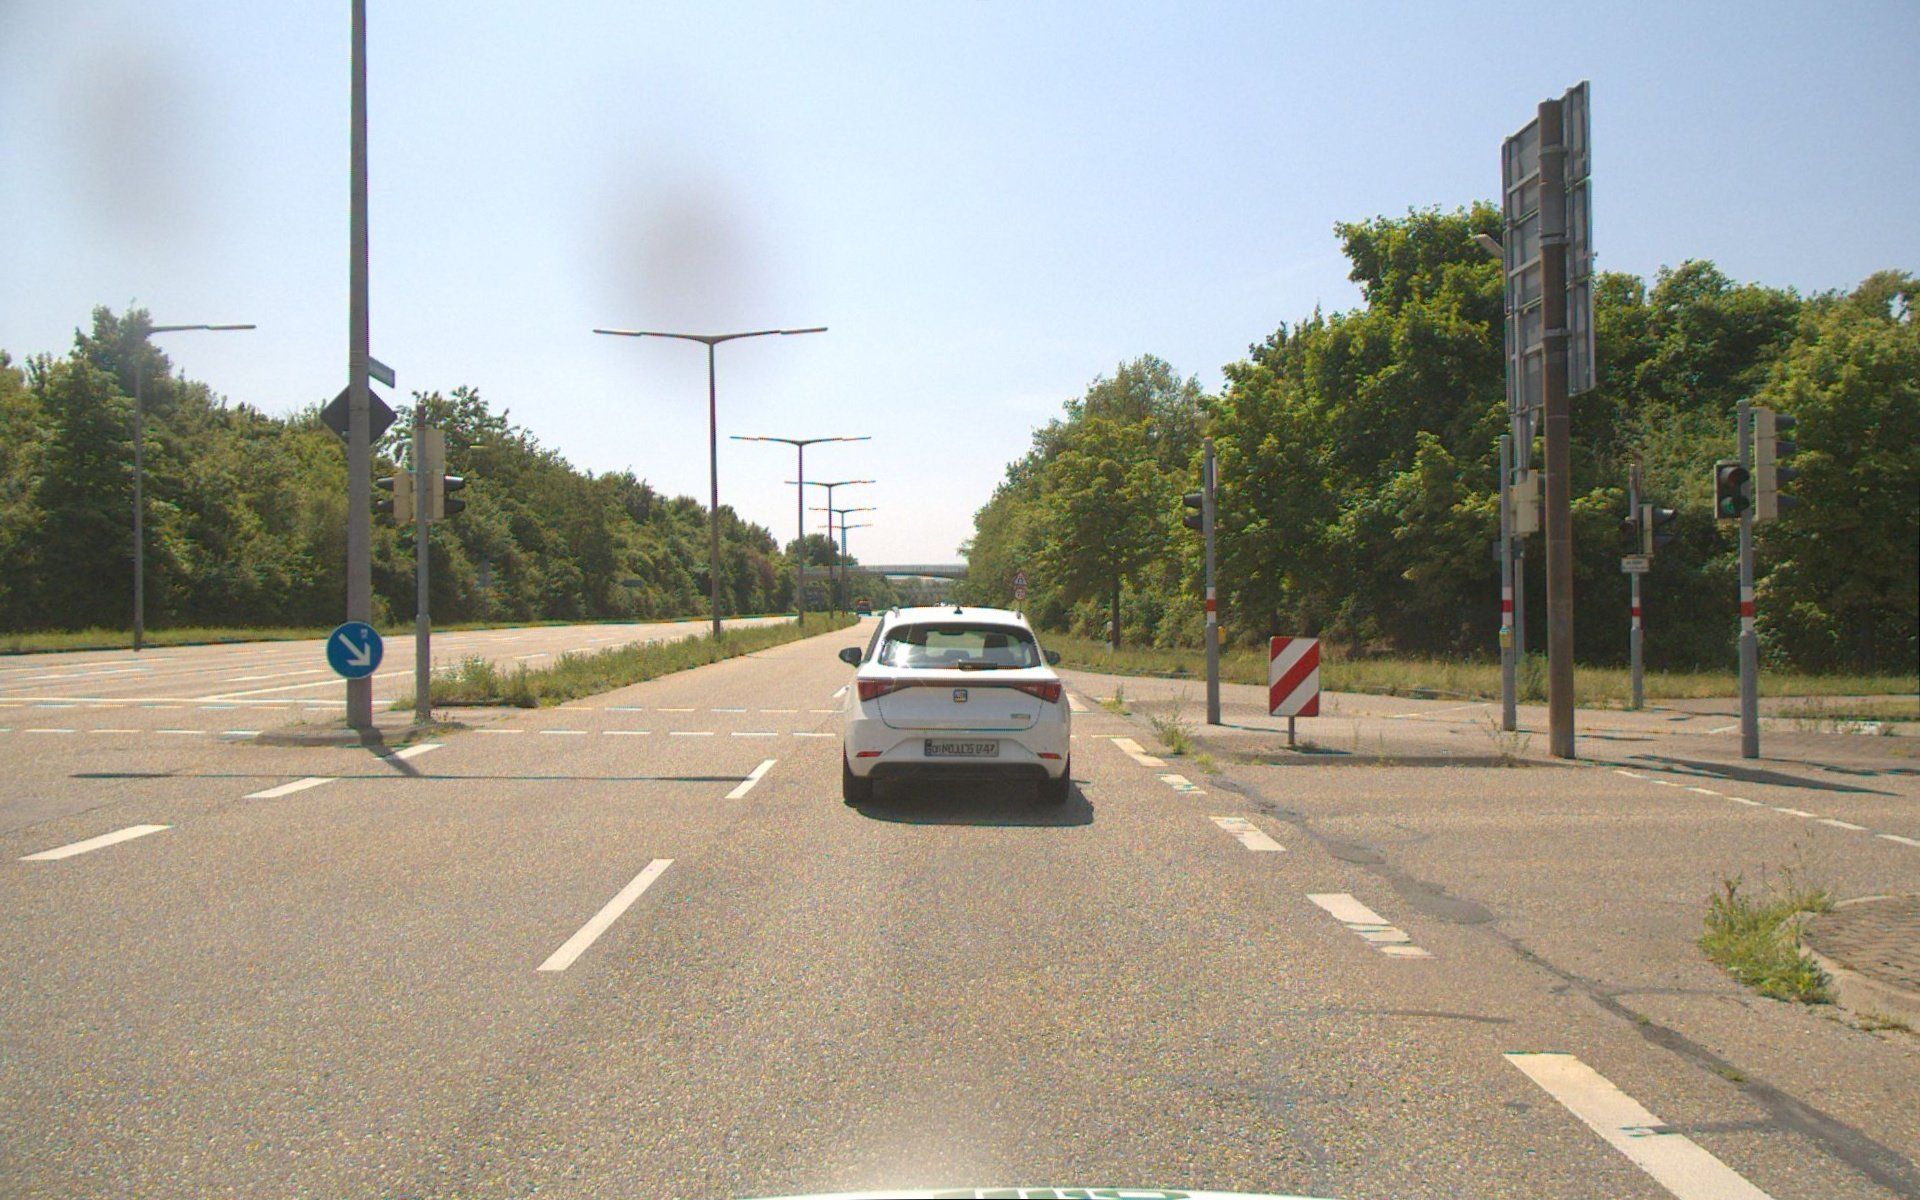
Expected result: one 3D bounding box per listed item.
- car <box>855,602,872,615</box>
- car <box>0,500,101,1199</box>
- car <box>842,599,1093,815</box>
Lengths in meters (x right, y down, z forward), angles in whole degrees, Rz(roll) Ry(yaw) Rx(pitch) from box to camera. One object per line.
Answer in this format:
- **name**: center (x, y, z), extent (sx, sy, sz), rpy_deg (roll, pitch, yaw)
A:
- **car**: center (-12.886, 1.116, 220.687), extent (1.816, 1.739, 4.001), rpy_deg (-1, 0, 1)
- **car**: center (-3.098, 0.606, 1.948), extent (1.767, 1.691, 4.643), rpy_deg (0, 0, 0)
- **car**: center (0.041, 0.762, 13.280), extent (1.699, 1.453, 3.694), rpy_deg (1, -1, 0)
